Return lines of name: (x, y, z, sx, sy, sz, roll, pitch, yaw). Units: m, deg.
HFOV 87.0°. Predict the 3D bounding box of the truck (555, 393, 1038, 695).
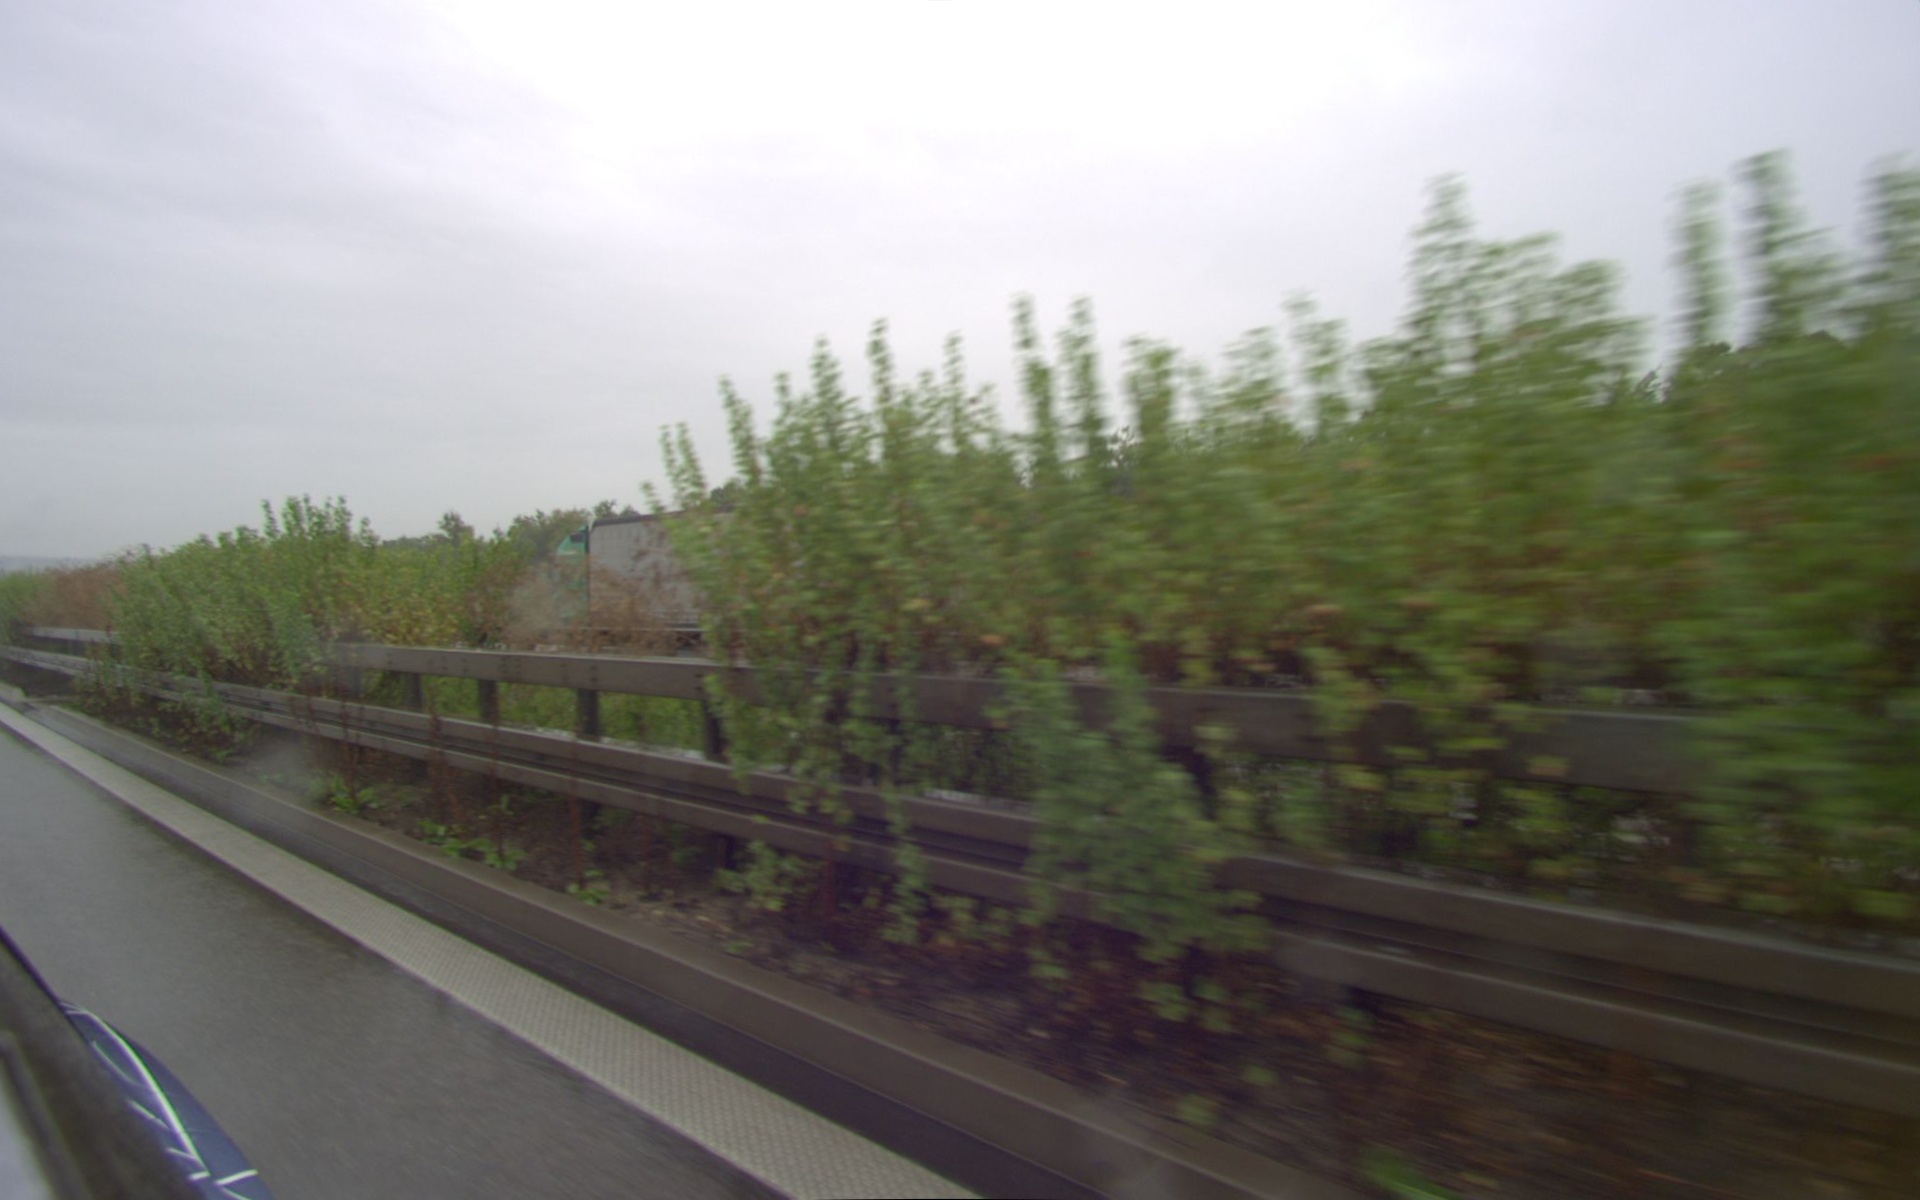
truck: (-5.431, -1.016, 27.623, 16.003, 6.172, 4.068, -1, -1, 43)
